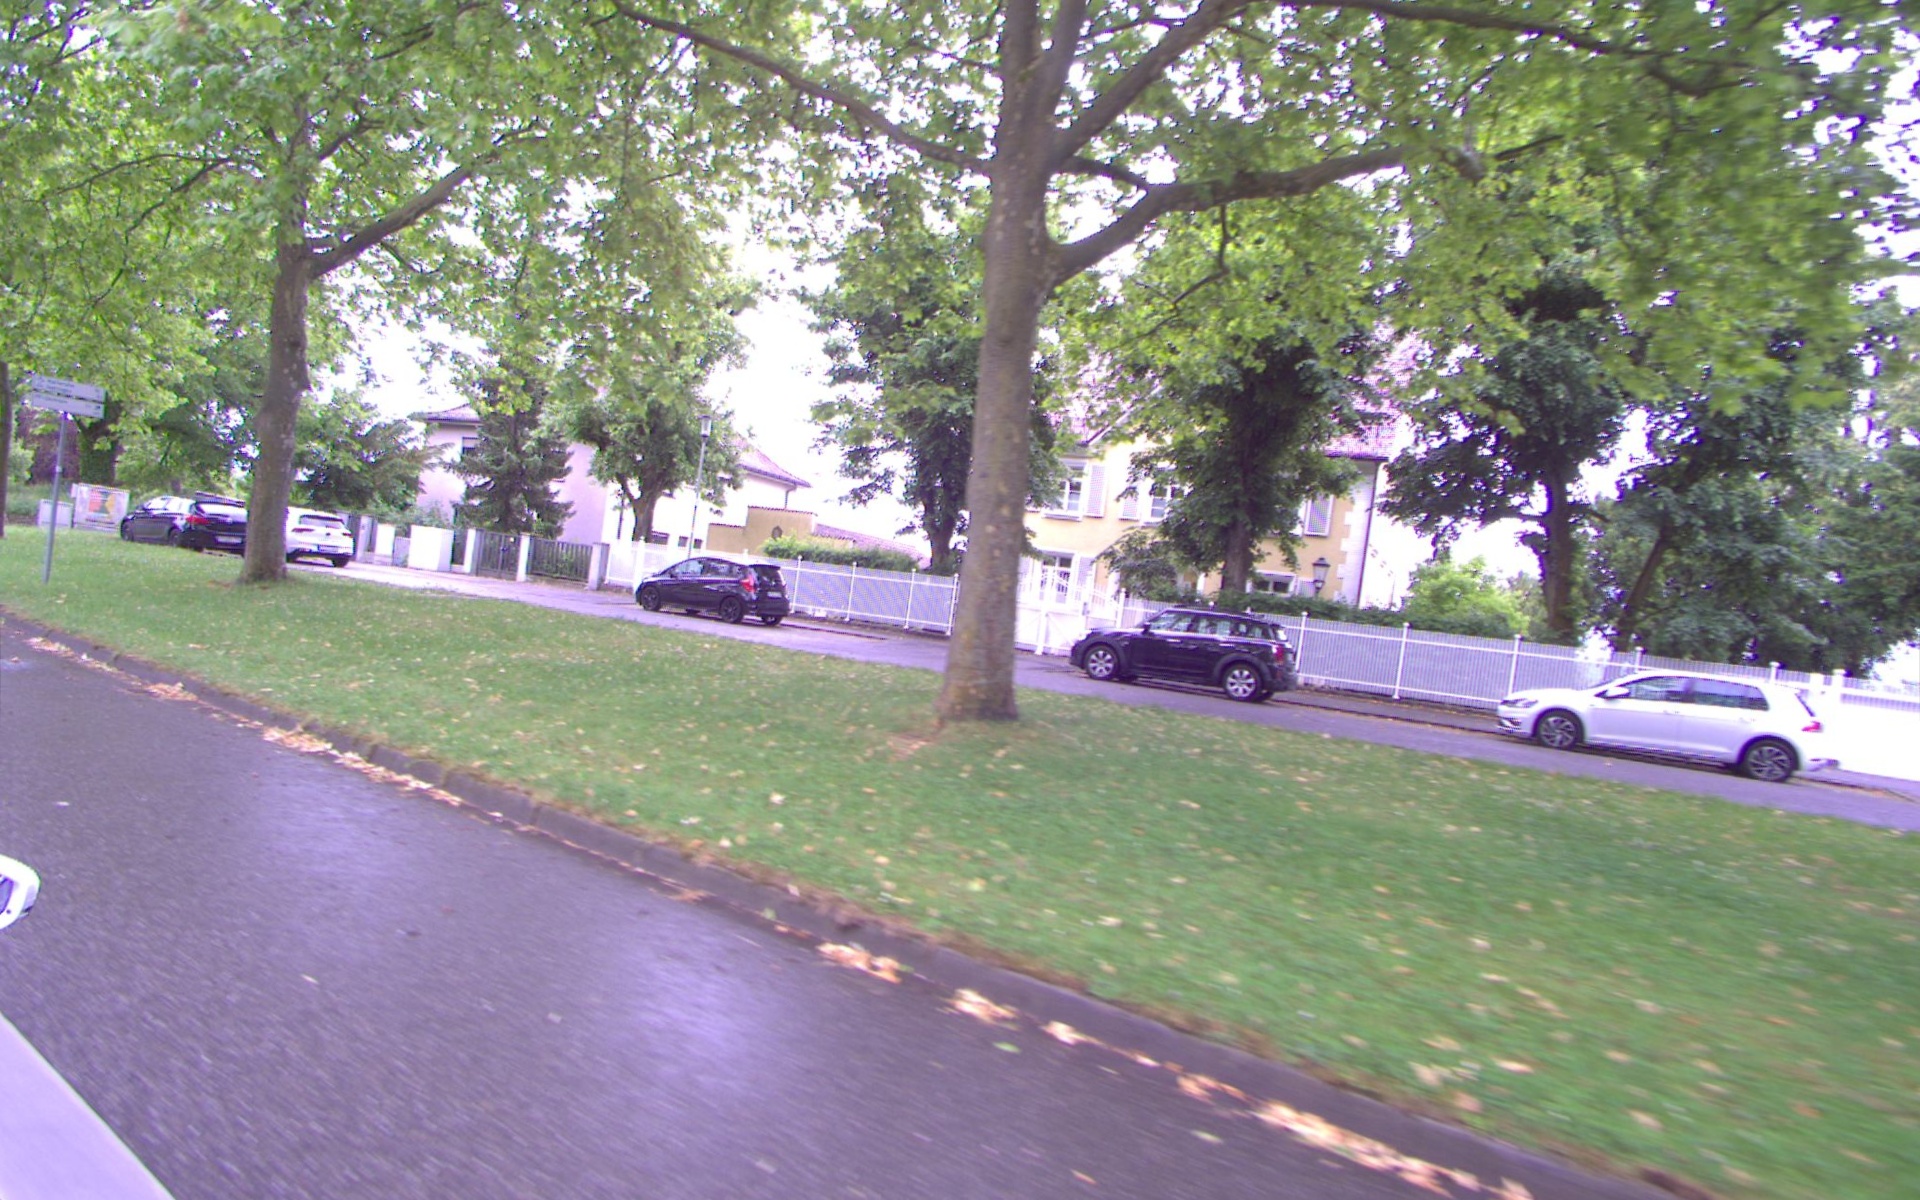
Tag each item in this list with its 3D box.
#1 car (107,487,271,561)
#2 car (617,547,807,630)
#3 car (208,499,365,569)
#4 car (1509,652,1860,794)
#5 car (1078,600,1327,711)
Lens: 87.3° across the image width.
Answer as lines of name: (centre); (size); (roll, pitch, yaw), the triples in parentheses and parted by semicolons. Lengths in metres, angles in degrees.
car: (-19.969, -1.979, 26.007); (4.521, 1.490, 1.765); (6, 1, 31)
car: (-6.094, -0.289, 24.635); (4.281, 1.488, 1.765); (6, -1, 28)
car: (-18.927, -1.852, 28.250); (4.351, 1.490, 1.847); (6, 1, 30)
car: (10.970, 1.838, 15.674); (4.053, 1.465, 1.999); (6, -2, 28)
car: (4.529, 1.039, 18.841); (4.053, 1.488, 1.999); (6, -2, 28)
